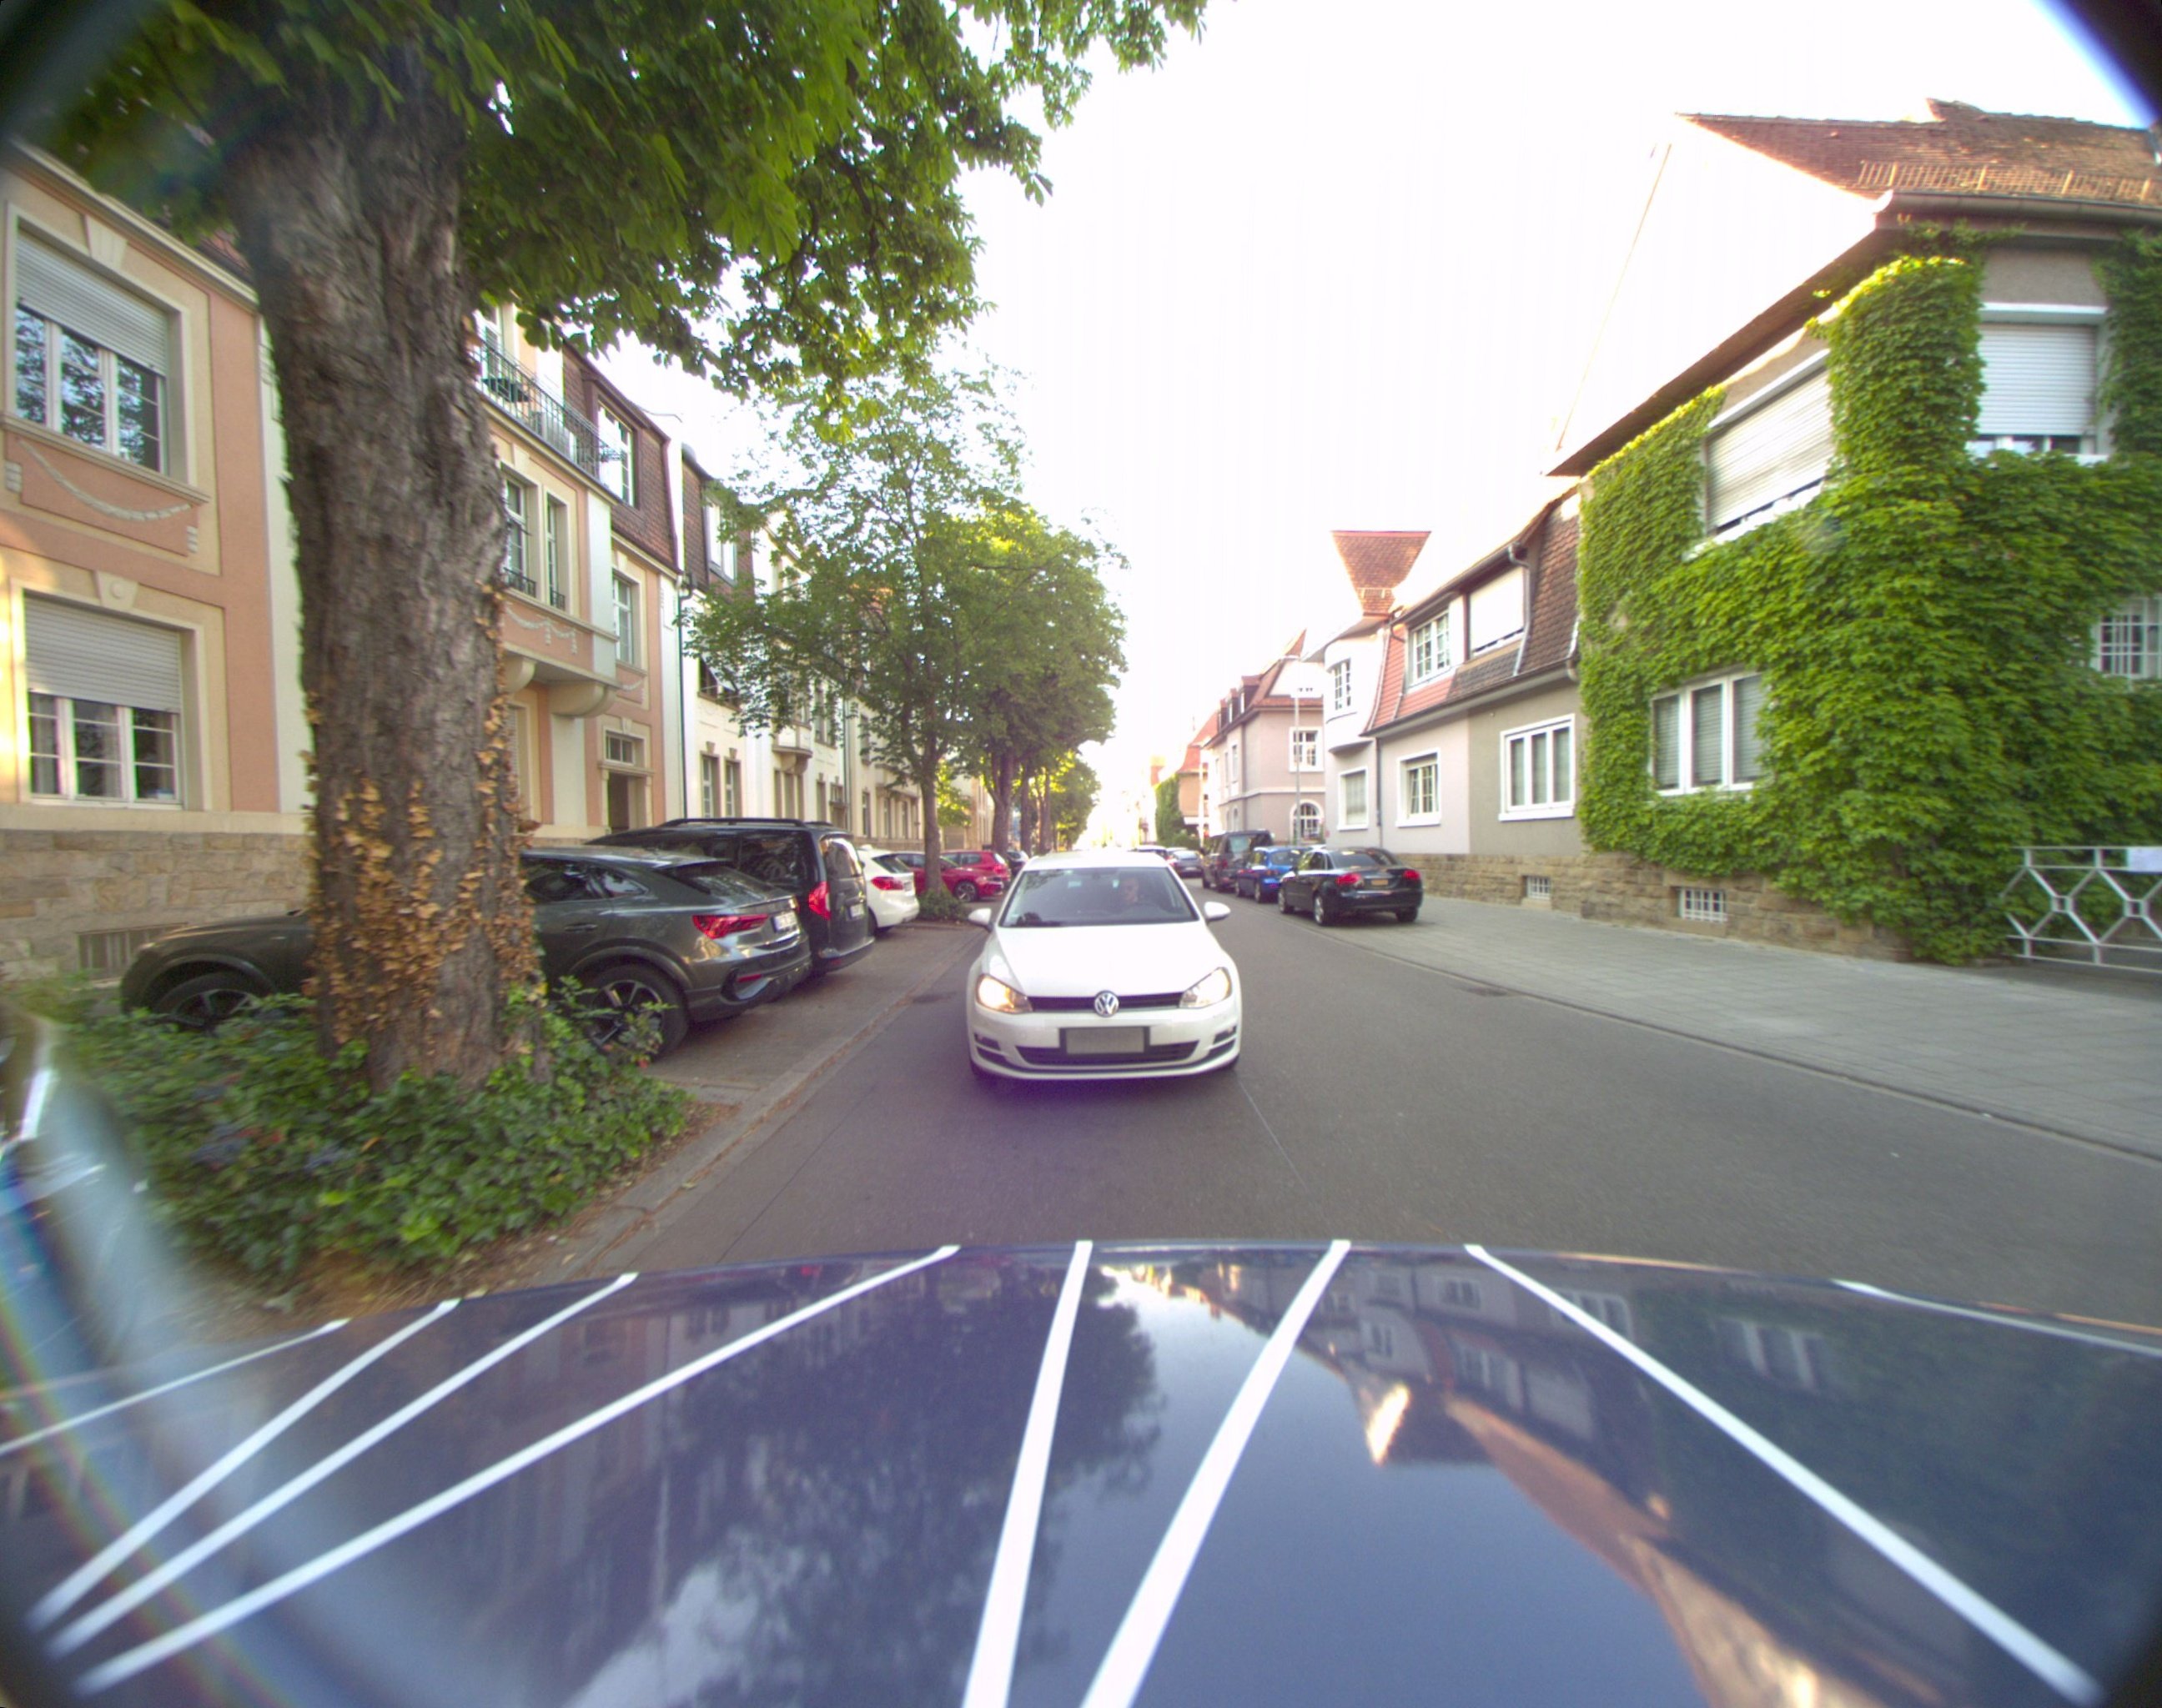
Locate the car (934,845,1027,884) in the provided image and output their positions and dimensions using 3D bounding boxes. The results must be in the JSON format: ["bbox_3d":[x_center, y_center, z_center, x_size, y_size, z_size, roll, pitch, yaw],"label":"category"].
[{"bbox_3d":[-4.102,0.411,31.350,3.622,1.555,1.537,0,1,1],"label":"car"}]

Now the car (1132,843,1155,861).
[{"bbox_3d":[5.624,-0.225,68.636,1.643,1.461,3.945,-3,1,0],"label":"car"}]

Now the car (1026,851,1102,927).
[{"bbox_3d":[-0.323,0.720,17.652,1.560,1.546,3.738,1,1,1],"label":"car"}]

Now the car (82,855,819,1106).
[{"bbox_3d":[-4.364,0.839,5.823,4.173,1.583,1.594,0,2,-4],"label":"car"}]

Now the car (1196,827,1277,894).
[{"bbox_3d":[5.165,0.167,25.736,1.719,1.962,4.310,-4,1,0],"label":"car"}]

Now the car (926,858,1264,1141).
[{"bbox_3d":[0.045,0.805,6.183,1.799,1.420,4.023,-2,1,-1],"label":"car"}]

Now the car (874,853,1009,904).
[{"bbox_3d":[-4.013,0.692,22.171,3.622,1.395,1.537,1,1,1],"label":"car"}]

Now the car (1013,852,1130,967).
[{"bbox_3d":[-0.102,0.767,12.520,1.600,1.546,4.000,1,1,1],"label":"car"}]

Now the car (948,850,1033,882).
[{"bbox_3d":[-4.064,0.540,34.505,3.622,1.395,1.537,0,1,1],"label":"car"}]

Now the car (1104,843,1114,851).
[{"bbox_3d":[5.513,-1.327,149.907,1.643,1.461,3.689,-3,1,1],"label":"car"}]

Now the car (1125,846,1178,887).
[{"bbox_3d":[2.739,0.448,30.272,1.620,1.493,3.590,1,1,-2],"label":"car"}]

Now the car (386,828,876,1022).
[{"bbox_3d":[-4.450,0.665,8.043,4.173,1.816,1.594,0,2,-4],"label":"car"}]

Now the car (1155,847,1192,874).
[{"bbox_3d":[5.159,0.311,42.758,1.541,1.363,3.945,-3,1,0],"label":"car"}]

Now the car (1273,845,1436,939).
[{"bbox_3d":[5.142,0.623,14.874,1.751,1.421,4.023,-4,1,1],"label":"car"}]

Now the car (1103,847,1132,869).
[{"bbox_3d":[2.492,0.240,52.949,1.785,1.453,4.299,1,0,-1],"label":"car"}]

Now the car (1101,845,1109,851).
[{"bbox_3d":[5.469,-1.389,173.716,1.643,1.461,3.689,-3,1,1],"label":"car"}]

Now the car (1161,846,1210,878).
[{"bbox_3d":[5.061,0.352,37.245,1.719,1.363,4.333,-3,1,0],"label":"car"}]

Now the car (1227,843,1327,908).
[{"bbox_3d":[5.254,0.509,20.844,1.611,1.455,4.023,-4,1,0],"label":"car"}]

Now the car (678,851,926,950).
[{"bbox_3d":[-4.567,0.745,12.819,3.623,1.541,1.537,0,1,-4],"label":"car"}]

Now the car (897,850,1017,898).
[{"bbox_3d":[-3.985,0.633,24.748,3.622,1.456,1.537,1,1,1],"label":"car"}]

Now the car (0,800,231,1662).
[{"bbox_3d":[-4.647,0.786,0.926,4.835,1.814,1.880,0,2,-4],"label":"car"}]

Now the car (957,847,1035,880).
[{"bbox_3d":[-4.120,0.446,37.235,3.622,1.555,1.537,0,1,1],"label":"car"}]
